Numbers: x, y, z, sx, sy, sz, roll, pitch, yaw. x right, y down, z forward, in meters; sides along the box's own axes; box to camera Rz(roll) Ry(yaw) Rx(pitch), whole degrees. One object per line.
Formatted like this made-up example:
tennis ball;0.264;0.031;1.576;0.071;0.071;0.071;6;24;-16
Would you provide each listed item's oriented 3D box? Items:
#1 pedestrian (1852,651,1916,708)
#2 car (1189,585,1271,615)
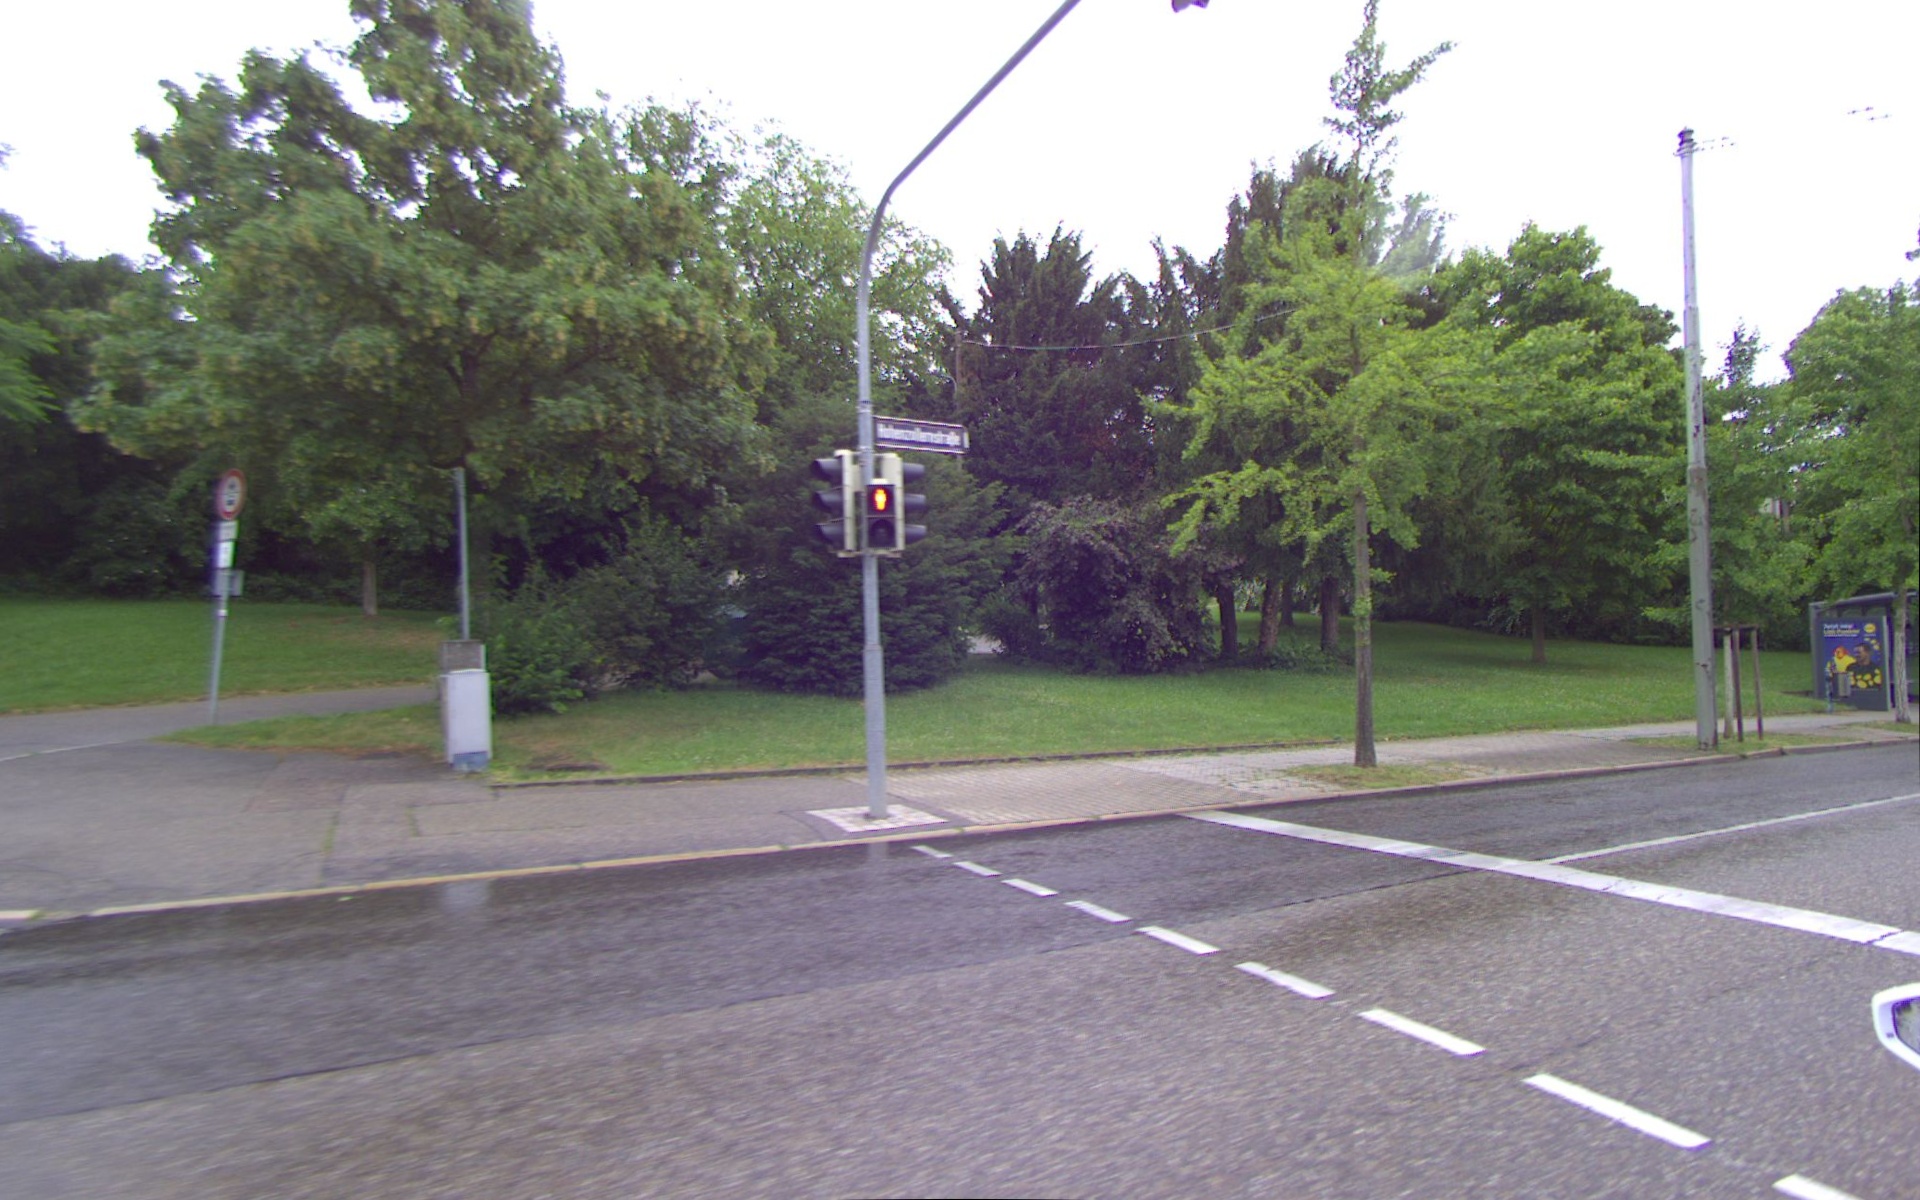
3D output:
pedestrian;24.408;2.080;26.536;0.905;1.422;0.935;1;1;-23
car;14.547;0.034;54.141;3.848;1.505;1.927;-1;-2;38
